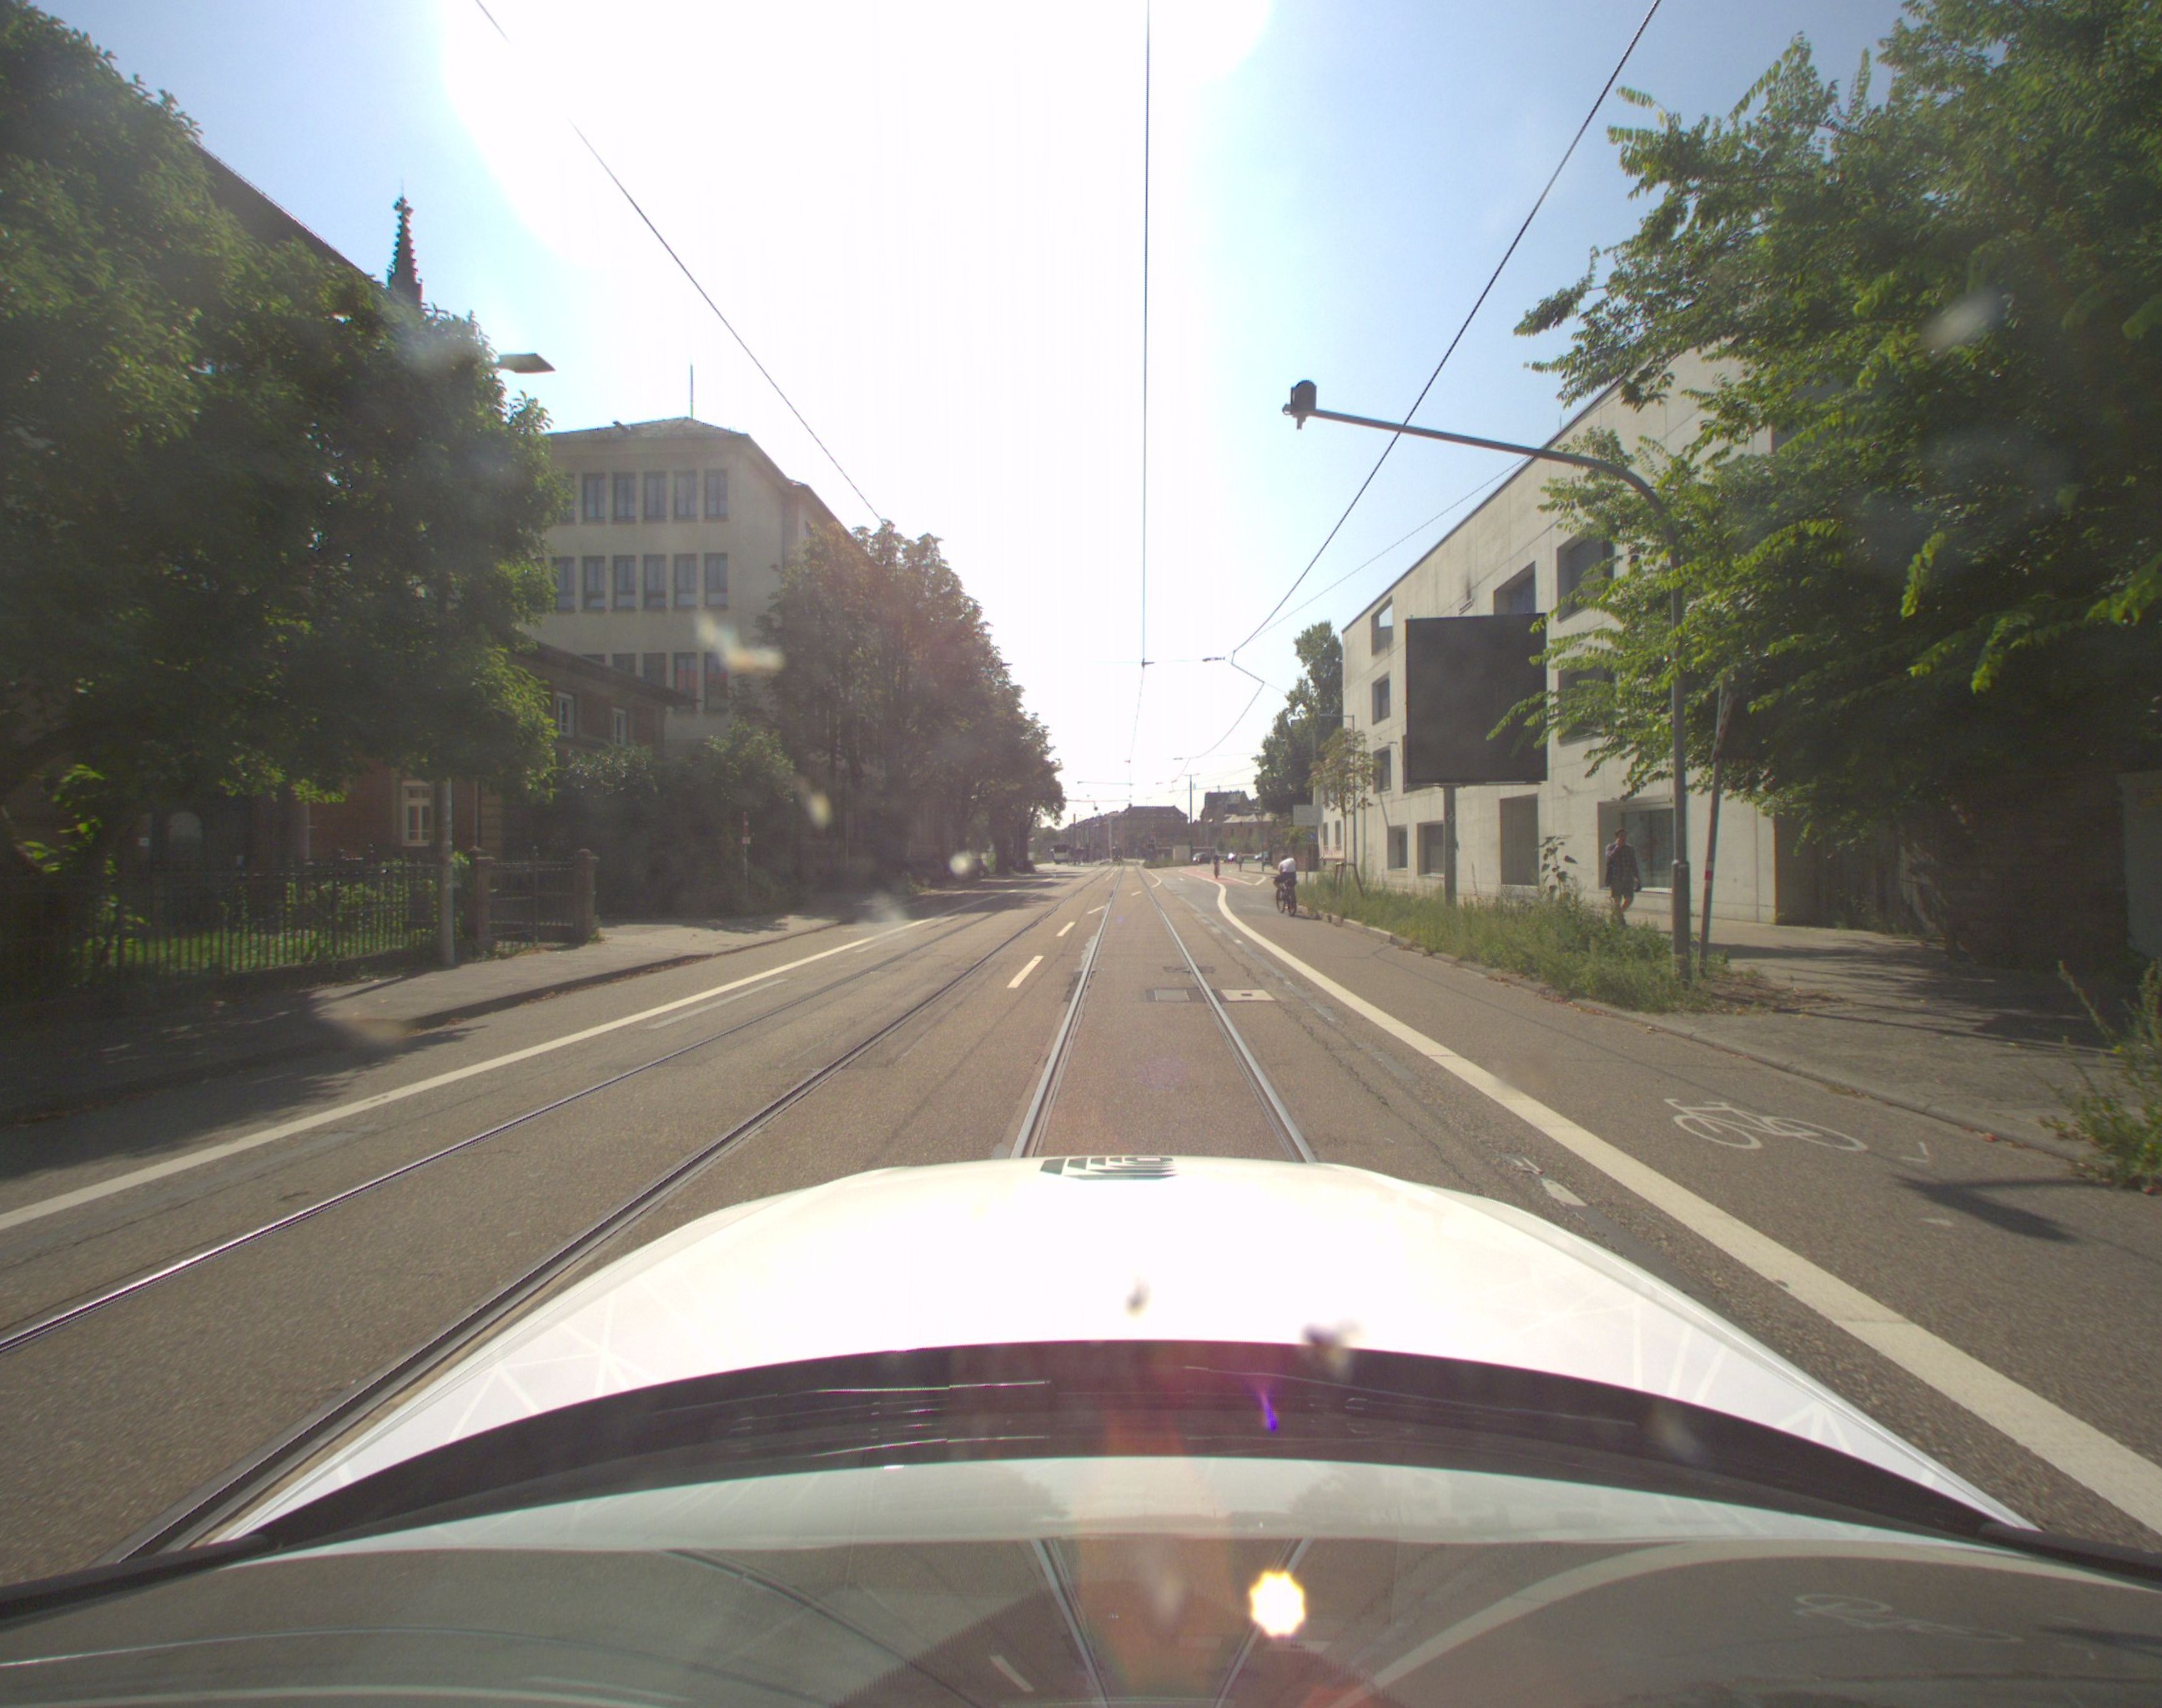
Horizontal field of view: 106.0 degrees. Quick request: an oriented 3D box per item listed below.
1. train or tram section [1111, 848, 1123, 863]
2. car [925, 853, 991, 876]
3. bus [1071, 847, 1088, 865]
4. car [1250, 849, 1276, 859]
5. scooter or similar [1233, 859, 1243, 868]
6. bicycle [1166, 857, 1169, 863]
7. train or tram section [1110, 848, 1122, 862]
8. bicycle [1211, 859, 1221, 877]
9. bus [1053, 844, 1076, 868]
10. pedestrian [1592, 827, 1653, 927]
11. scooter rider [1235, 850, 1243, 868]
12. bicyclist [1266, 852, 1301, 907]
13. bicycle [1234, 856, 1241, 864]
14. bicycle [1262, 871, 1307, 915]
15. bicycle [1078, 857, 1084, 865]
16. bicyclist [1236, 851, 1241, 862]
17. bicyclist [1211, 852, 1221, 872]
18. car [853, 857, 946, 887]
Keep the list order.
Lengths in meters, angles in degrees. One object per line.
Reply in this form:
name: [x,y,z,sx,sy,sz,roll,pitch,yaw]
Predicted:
train or tram section: [10.098,0.419,225.647,2.873,4.068,19.161,0,0,4]
car: [-8.602,0.718,57.115,4.180,1.496,1.802,0,0,-34]
bus: [-0.292,0.493,178.907,2.697,3.727,10.432,0,0,5]
car: [29.730,-0.043,133.003,4.699,1.610,1.756,0,0,-42]
scooter or similar: [15.670,0.934,81.150,0.765,0.926,1.628,0,0,21]
bicycle: [14.615,1.066,137.616,0.462,1.032,1.550,0,0,5]
train or tram section: [8.891,0.236,207.194,2.844,3.548,17.756,0,0,3]
bicycle: [8.870,0.897,53.407,0.600,1.163,1.814,-1,0,8]
bus: [-2.678,0.265,133.587,2.946,3.775,10.604,0,0,3]
pedestrian: [9.587,0.398,14.432,0.688,1.732,0.580,-1,0,5]
scooter rider: [15.806,0.458,81.507,0.755,1.775,0.558,-1,0,20]
bicyclist: [5.312,0.656,21.420,0.741,1.411,0.963,0,0,4]
bicycle: [21.134,0.801,109.777,0.440,1.117,1.455,-1,-1,30]
bicycle: [5.298,0.983,21.311,0.736,1.049,2.235,0,0,3]
bicycle: [-0.031,0.997,120.130,0.604,1.222,1.709,-1,0,7]
bicyclist: [21.248,0.303,109.977,0.445,1.421,0.499,-1,-1,30]
bicyclist: [8.861,0.522,53.441,0.599,1.335,0.661,-1,0,9]
car: [-9.340,0.889,42.015,4.434,1.462,1.807,0,0,-24]
